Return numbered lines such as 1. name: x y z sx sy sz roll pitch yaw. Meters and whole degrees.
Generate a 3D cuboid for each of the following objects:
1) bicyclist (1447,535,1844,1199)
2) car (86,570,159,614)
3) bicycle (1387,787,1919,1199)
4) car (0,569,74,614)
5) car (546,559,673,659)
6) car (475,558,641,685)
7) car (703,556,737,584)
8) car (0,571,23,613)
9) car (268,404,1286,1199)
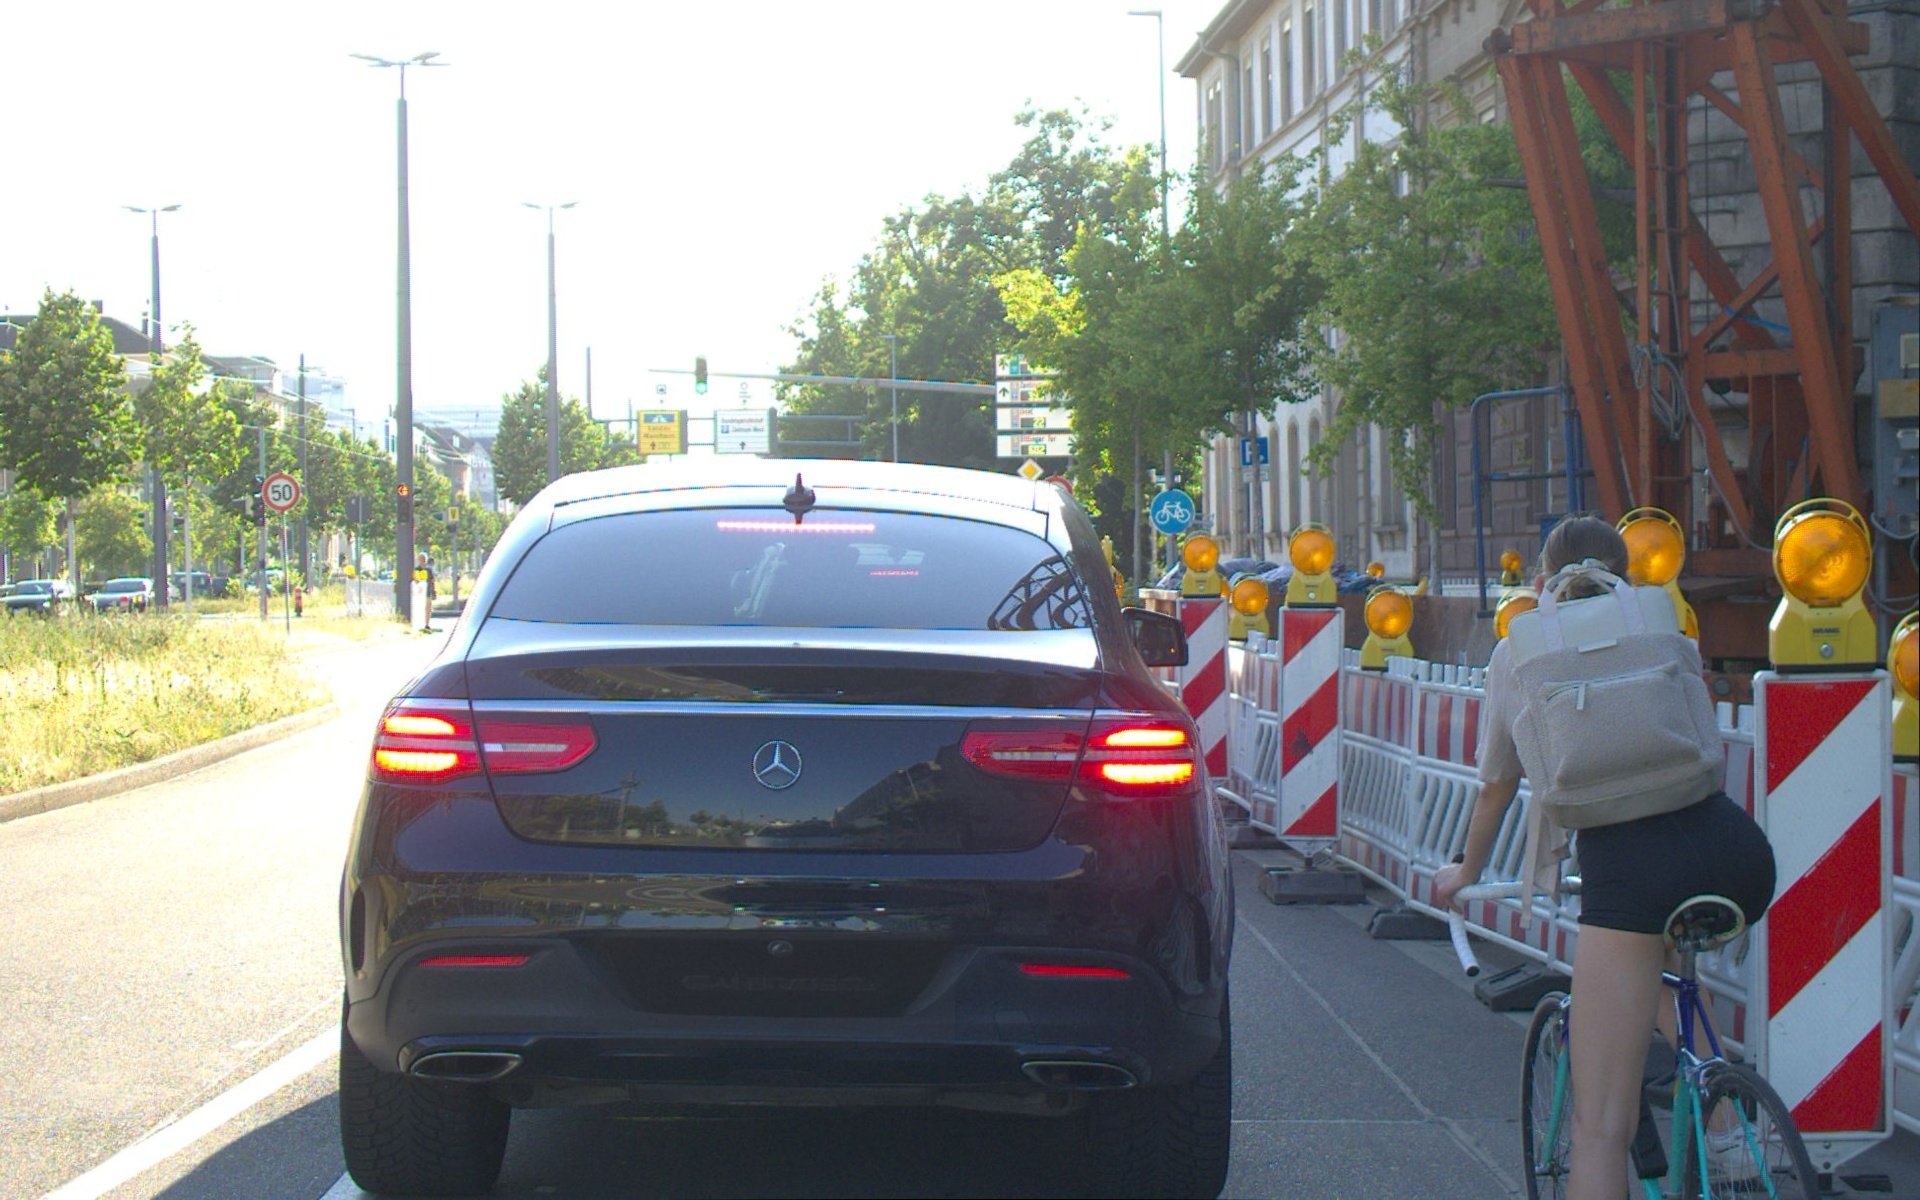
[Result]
1. bicyclist: 1.177 0.588 6.000 0.522 1.391 0.615 1 0 -3
2. car: -27.981 -0.274 114.910 1.708 1.437 3.583 1 1 -3
3. bicycle: 1.171 0.914 6.086 0.512 1.048 1.725 1 1 -3
4. car: -30.541 -0.298 113.691 1.708 1.437 3.583 1 1 -3
5. car: -5.271 0.107 52.048 1.708 1.437 3.583 1 1 -3
6. car: -4.770 0.230 41.117 1.708 1.437 3.583 1 1 -3
7. car: -12.779 -1.597 183.545 1.708 1.437 3.583 1 1 -3
8. car: -34.468 -0.302 121.839 1.708 1.437 3.583 1 1 -3
9. car: -0.386 0.490 8.806 1.993 1.766 4.000 1 1 -1
